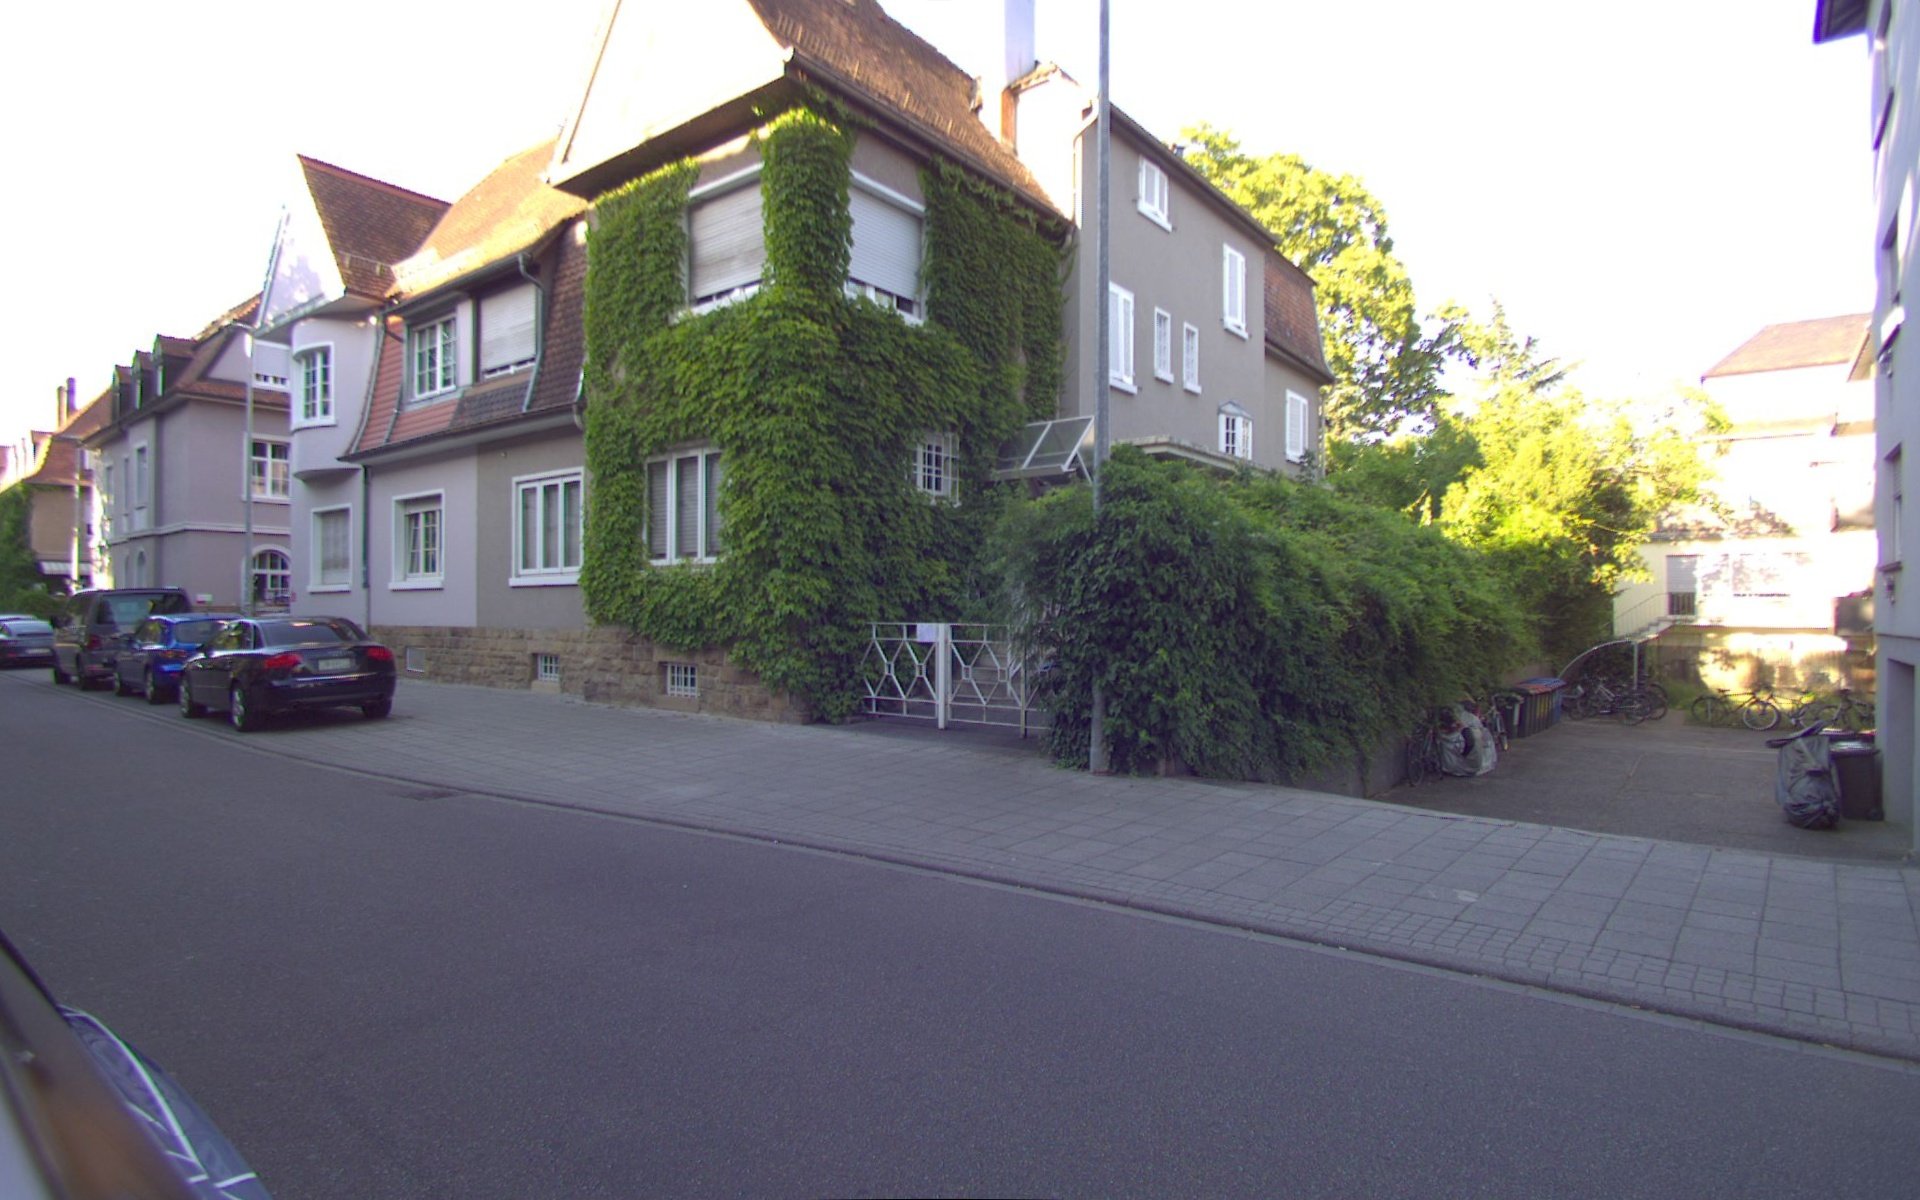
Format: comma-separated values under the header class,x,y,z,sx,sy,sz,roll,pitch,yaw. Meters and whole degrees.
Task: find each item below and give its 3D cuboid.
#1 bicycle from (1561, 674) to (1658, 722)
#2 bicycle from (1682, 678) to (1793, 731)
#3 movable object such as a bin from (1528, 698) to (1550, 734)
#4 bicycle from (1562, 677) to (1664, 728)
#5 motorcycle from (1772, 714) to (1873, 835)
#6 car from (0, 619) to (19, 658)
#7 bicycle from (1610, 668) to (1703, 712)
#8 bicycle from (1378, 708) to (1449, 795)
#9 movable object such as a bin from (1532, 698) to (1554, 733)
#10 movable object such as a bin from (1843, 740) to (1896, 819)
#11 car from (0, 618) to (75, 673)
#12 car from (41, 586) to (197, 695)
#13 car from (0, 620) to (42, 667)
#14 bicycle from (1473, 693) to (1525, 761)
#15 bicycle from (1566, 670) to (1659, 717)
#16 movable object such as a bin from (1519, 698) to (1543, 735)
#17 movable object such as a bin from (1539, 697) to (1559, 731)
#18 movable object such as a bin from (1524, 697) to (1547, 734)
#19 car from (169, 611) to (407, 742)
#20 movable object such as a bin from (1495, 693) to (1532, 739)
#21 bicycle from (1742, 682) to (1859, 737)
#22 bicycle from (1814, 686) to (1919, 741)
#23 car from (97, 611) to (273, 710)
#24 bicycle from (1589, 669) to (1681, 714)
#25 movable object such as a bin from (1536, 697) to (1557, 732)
class,x,y,z,sx,sy,sz,roll,pitch,yaw
bicycle,16.836,2.530,26.273,2.068,1.028,0.565,1,3,41
bicycle,18.713,2.506,24.396,2.068,1.028,0.634,1,3,41
movable object such as a bin,13.020,2.601,22.767,0.375,0.764,0.359,-1,-4,41
bicycle,16.272,2.537,25.261,2.068,1.028,0.634,1,3,41
motorcycle,10.722,2.126,12.628,0.757,1.261,1.575,-1,-3,34
car,-36.532,1.449,37.676,3.942,1.381,1.698,-1,0,40
bicycle,19.415,2.498,28.246,2.068,1.028,0.561,1,3,41
bicycle,6.805,2.225,15.132,0.514,1.027,1.914,1,0,38
movable object such as a bin,13.281,2.622,23.061,0.367,0.764,0.359,-1,-4,41
movable object such as a bin,11.760,2.305,13.100,0.432,0.894,0.717,-1,-3,37
car,-26.360,1.236,28.353,4.331,1.381,1.698,-1,0,40
car,-17.490,0.751,20.984,4.308,1.987,1.698,0,2,40
car,-30.325,1.340,31.900,3.942,1.381,1.522,-1,0,40
bicycle,9.956,2.317,18.674,0.514,1.027,1.914,1,0,38
bicycle,17.696,2.519,27.475,2.068,1.028,0.608,1,3,41
movable object such as a bin,12.516,2.541,22.182,0.398,0.779,0.359,-1,-4,41
movable object such as a bin,13.779,2.667,23.658,0.346,0.764,0.359,-1,-4,41
movable object such as a bin,12.769,2.567,22.466,0.381,0.779,0.359,-1,-4,41
car,-9.306,0.925,13.888,4.023,1.439,1.729,0,2,42
movable object such as a bin,11.542,2.414,21.098,0.576,0.886,0.488,0,-3,41
bicycle,19.586,2.527,23.627,2.068,1.028,0.634,1,3,41
bicycle,20.563,2.544,22.758,2.068,1.028,0.634,1,3,41
car,-13.713,0.977,17.831,4.021,1.475,1.591,0,2,40
bicycle,18.614,2.508,27.941,2.068,1.028,0.608,1,3,41
movable object such as a bin,13.534,2.641,23.357,0.367,0.764,0.359,-1,-4,41
